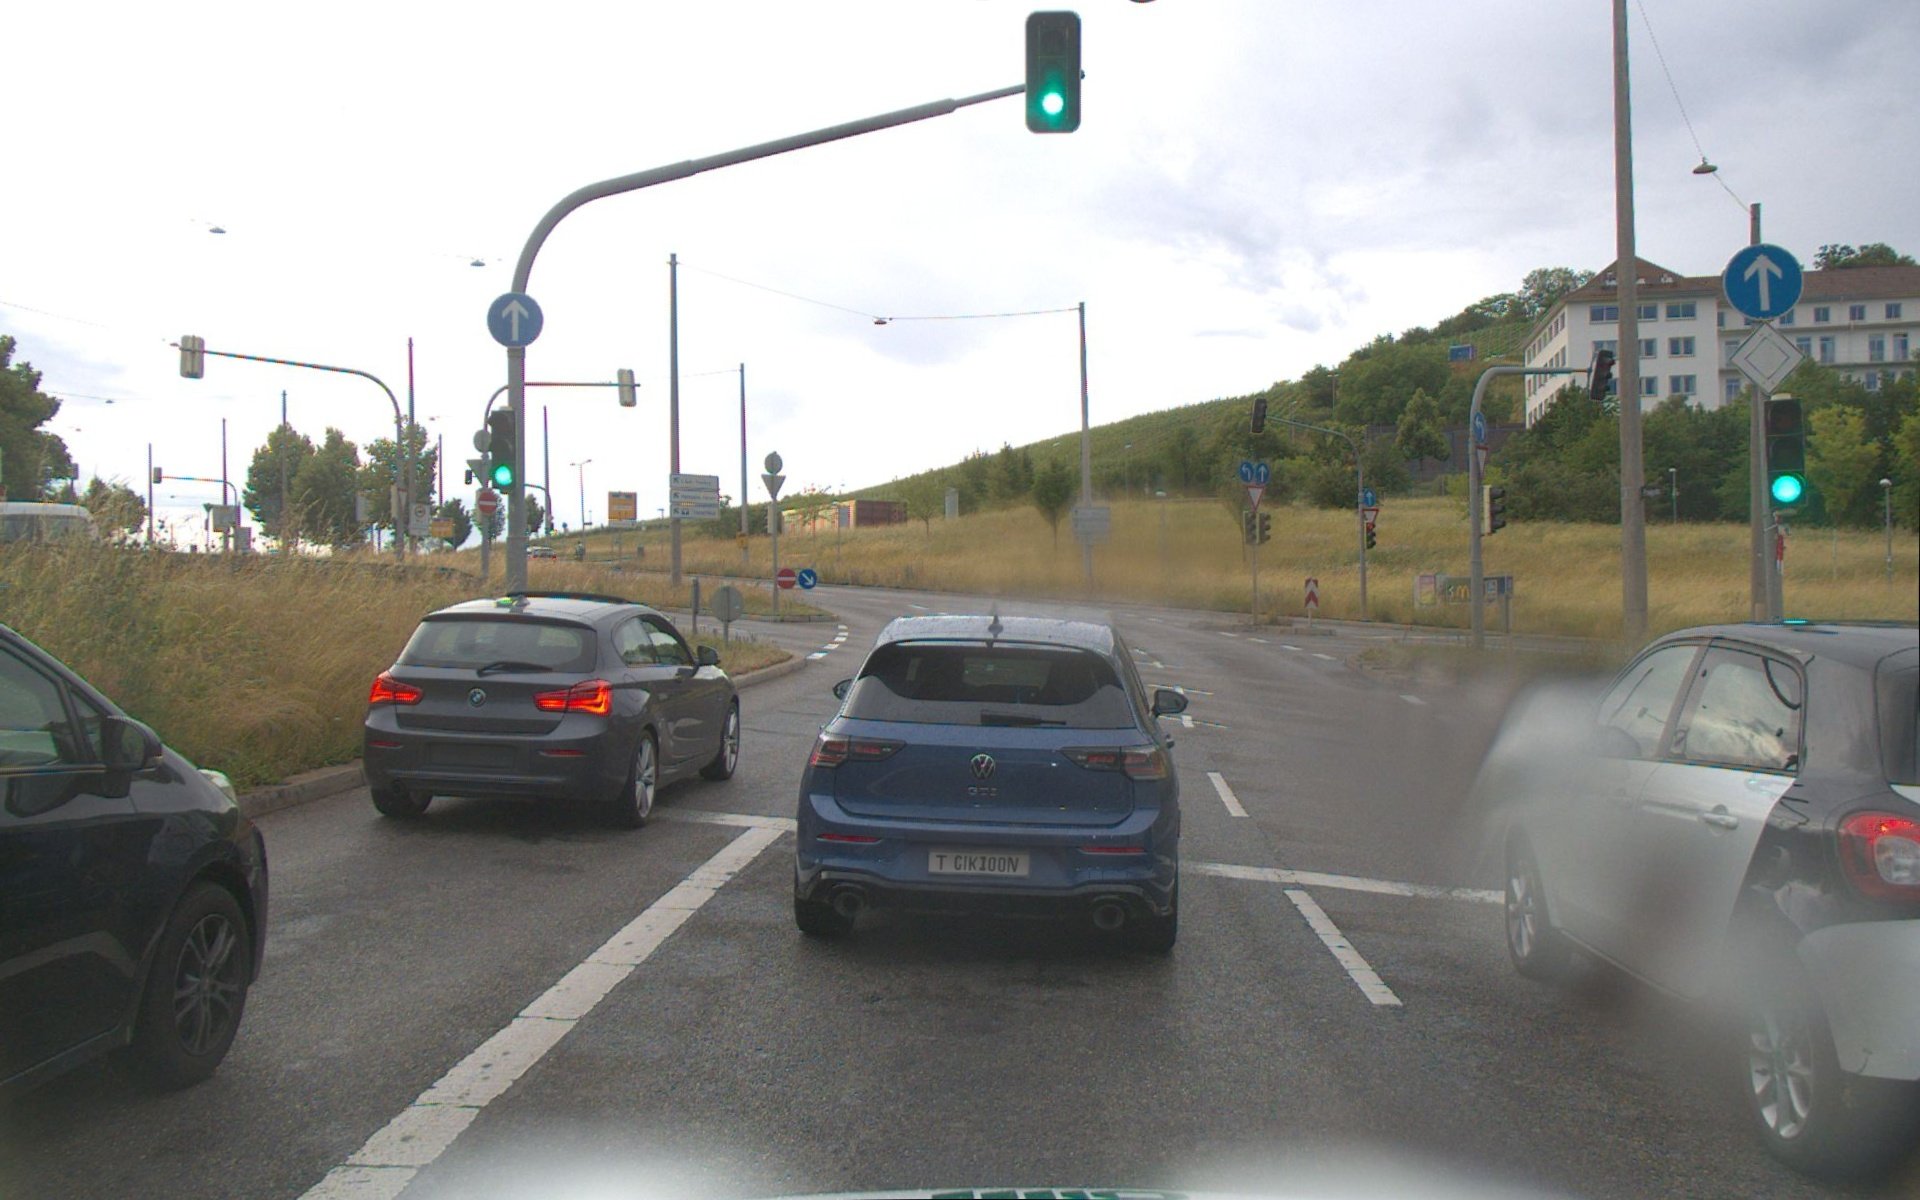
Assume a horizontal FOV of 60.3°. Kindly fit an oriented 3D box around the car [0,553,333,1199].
[{"bbox_3d":[-3.016,0.623,3.727,1.608,1.530,3.779,3,0,1],"label":"car"}]

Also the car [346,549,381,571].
[{"bbox_3d":[-49.584,-3.358,137.438,1.972,1.665,4.379,3,0,-29],"label":"car"}]

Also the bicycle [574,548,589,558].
[{"bbox_3d":[-28.481,-3.537,124.436,0.513,0.788,1.602,2,0,-33],"label":"bicycle"}]

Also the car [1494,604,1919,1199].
[{"bbox_3d":[3.169,0.816,5.797,1.623,1.529,3.452,1,-1,3],"label":"car"}]

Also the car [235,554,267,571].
[{"bbox_3d":[-69.371,-3.672,161.729,1.978,1.503,4.445,2,-1,-36],"label":"car"}]

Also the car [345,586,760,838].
[{"bbox_3d":[-2.678,0.655,11.878,1.667,1.485,4.117,0,0,5],"label":"car"}]

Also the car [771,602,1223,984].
[{"bbox_3d":[0.288,0.768,8.484,1.786,1.486,3.810,1,0,4],"label":"car"}]

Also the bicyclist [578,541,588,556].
[{"bbox_3d":[-28.322,-3.849,124.244,0.518,1.065,0.574,4,-1,-34],"label":"bicyclist"}]

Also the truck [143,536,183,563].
[{"bbox_3d":[-102.196,-6.498,211.934,3.235,3.128,6.093,4,0,-38],"label":"truck"}]

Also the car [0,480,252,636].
[{"bbox_3d":[-11.955,-0.470,22.474,1.777,1.882,4.701,1,-1,14],"label":"car"}]

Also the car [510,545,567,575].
[{"bbox_3d":[-24.790,-2.355,97.116,1.973,1.646,4.802,2,0,-31],"label":"car"}]
